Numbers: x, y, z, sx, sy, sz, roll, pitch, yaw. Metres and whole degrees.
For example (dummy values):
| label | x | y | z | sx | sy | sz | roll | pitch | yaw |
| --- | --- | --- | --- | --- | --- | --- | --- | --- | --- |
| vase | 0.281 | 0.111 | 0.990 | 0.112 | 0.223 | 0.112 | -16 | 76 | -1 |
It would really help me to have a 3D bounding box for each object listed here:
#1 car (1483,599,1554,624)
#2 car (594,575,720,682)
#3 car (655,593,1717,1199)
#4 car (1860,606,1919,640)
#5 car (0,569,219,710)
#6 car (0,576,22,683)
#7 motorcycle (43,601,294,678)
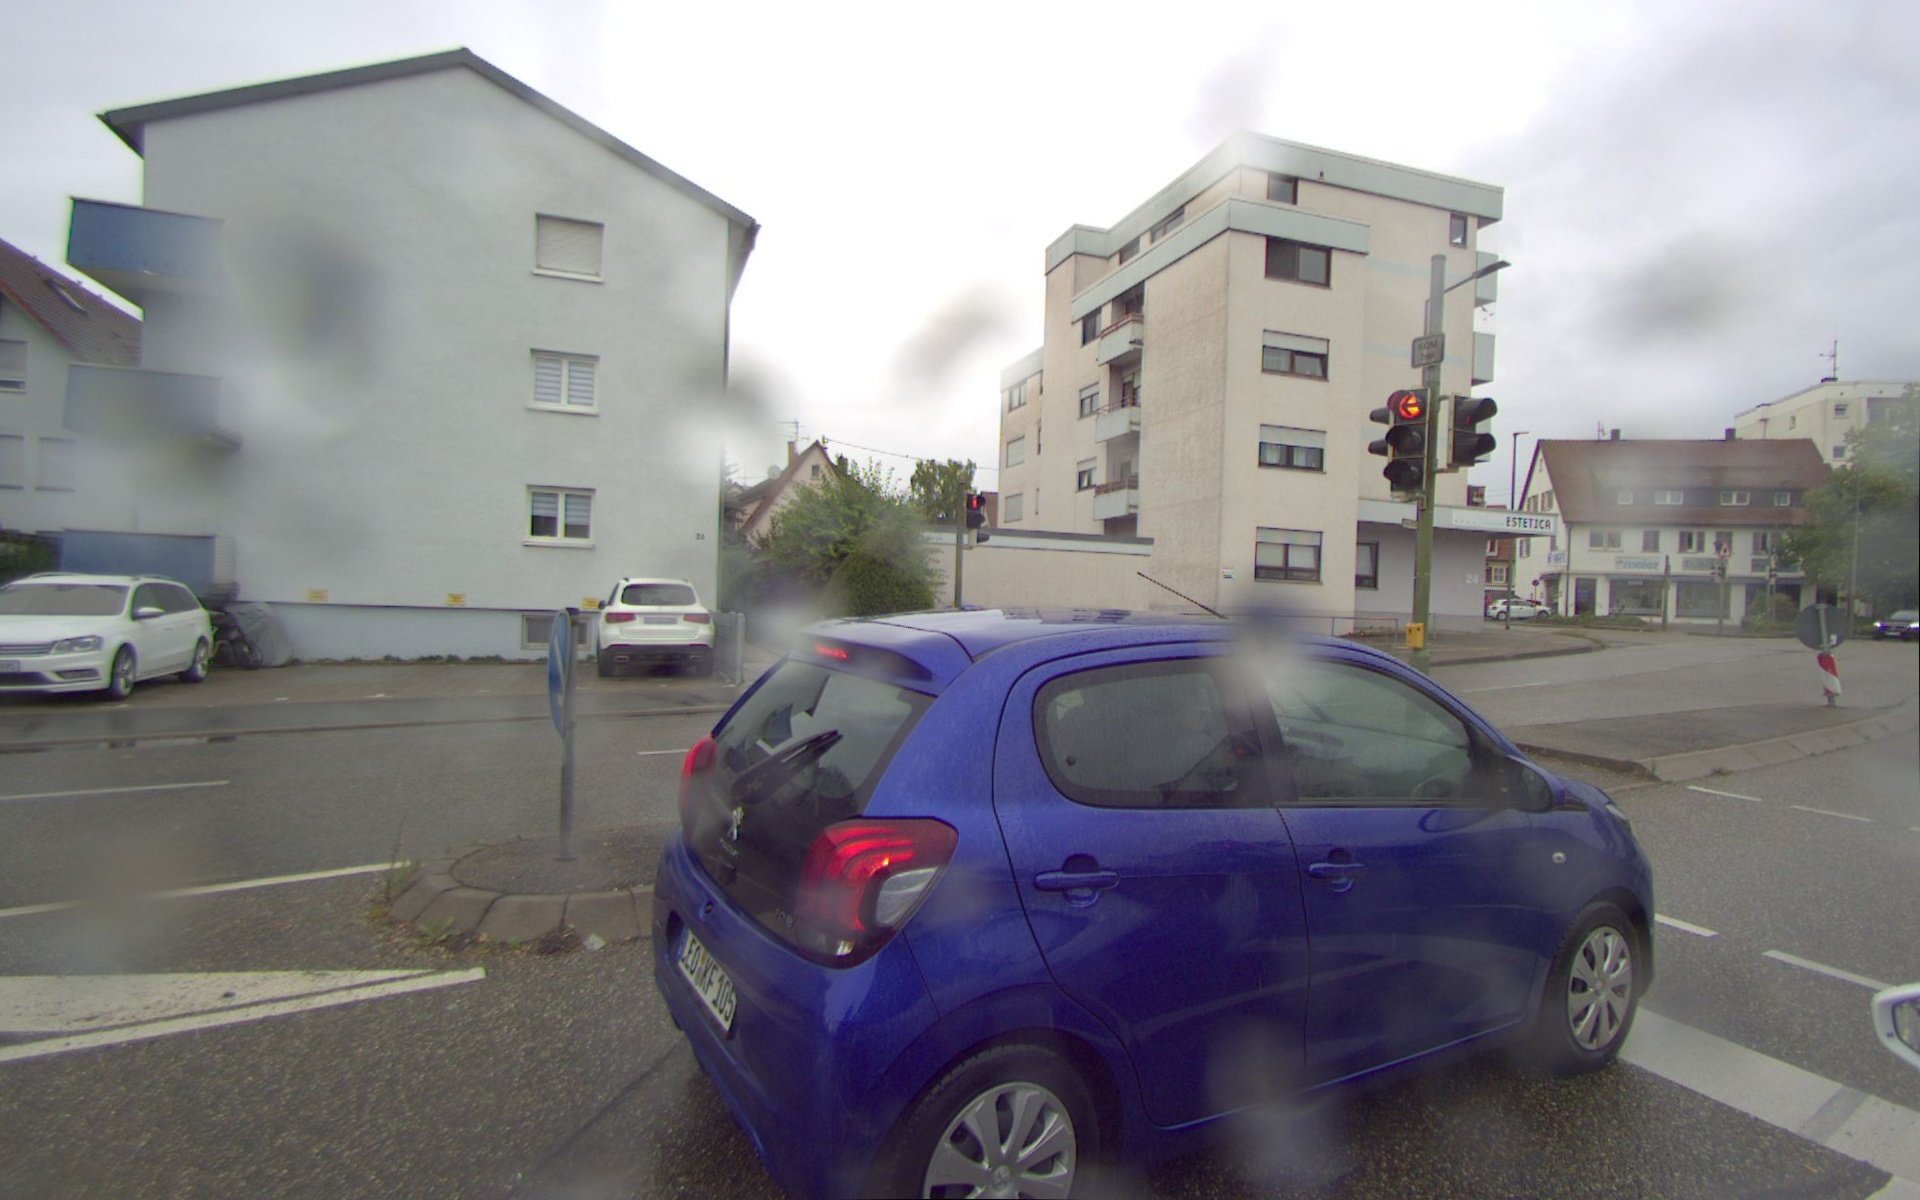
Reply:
| label | x | y | z | sx | sy | sz | roll | pitch | yaw |
| --- | --- | --- | --- | --- | --- | --- | --- | --- | --- |
| car | 38.386 | 0.745 | 69.107 | 3.887 | 1.593 | 1.873 | 1 | 1 | 17 |
| car | -5.517 | 0.445 | 18.056 | 1.909 | 1.658 | 4.445 | 1 | 0 | -19 |
| car | 0.810 | 0.730 | 3.341 | 3.231 | 1.429 | 1.571 | 1 | 1 | -30 |
| car | 42.582 | 1.014 | 45.409 | 3.786 | 1.439 | 1.770 | 1 | 1 | -30 |
| car | -10.974 | 0.411 | 12.524 | 1.878 | 1.493 | 4.208 | 1 | 0 | -24 |
| car | -13.188 | 0.394 | 11.833 | 1.878 | 1.430 | 3.977 | 1 | 0 | -24 |
| motorcycle | -12.730 | 0.593 | 16.294 | 0.864 | 1.115 | 3.113 | 2 | 1 | 43 |
